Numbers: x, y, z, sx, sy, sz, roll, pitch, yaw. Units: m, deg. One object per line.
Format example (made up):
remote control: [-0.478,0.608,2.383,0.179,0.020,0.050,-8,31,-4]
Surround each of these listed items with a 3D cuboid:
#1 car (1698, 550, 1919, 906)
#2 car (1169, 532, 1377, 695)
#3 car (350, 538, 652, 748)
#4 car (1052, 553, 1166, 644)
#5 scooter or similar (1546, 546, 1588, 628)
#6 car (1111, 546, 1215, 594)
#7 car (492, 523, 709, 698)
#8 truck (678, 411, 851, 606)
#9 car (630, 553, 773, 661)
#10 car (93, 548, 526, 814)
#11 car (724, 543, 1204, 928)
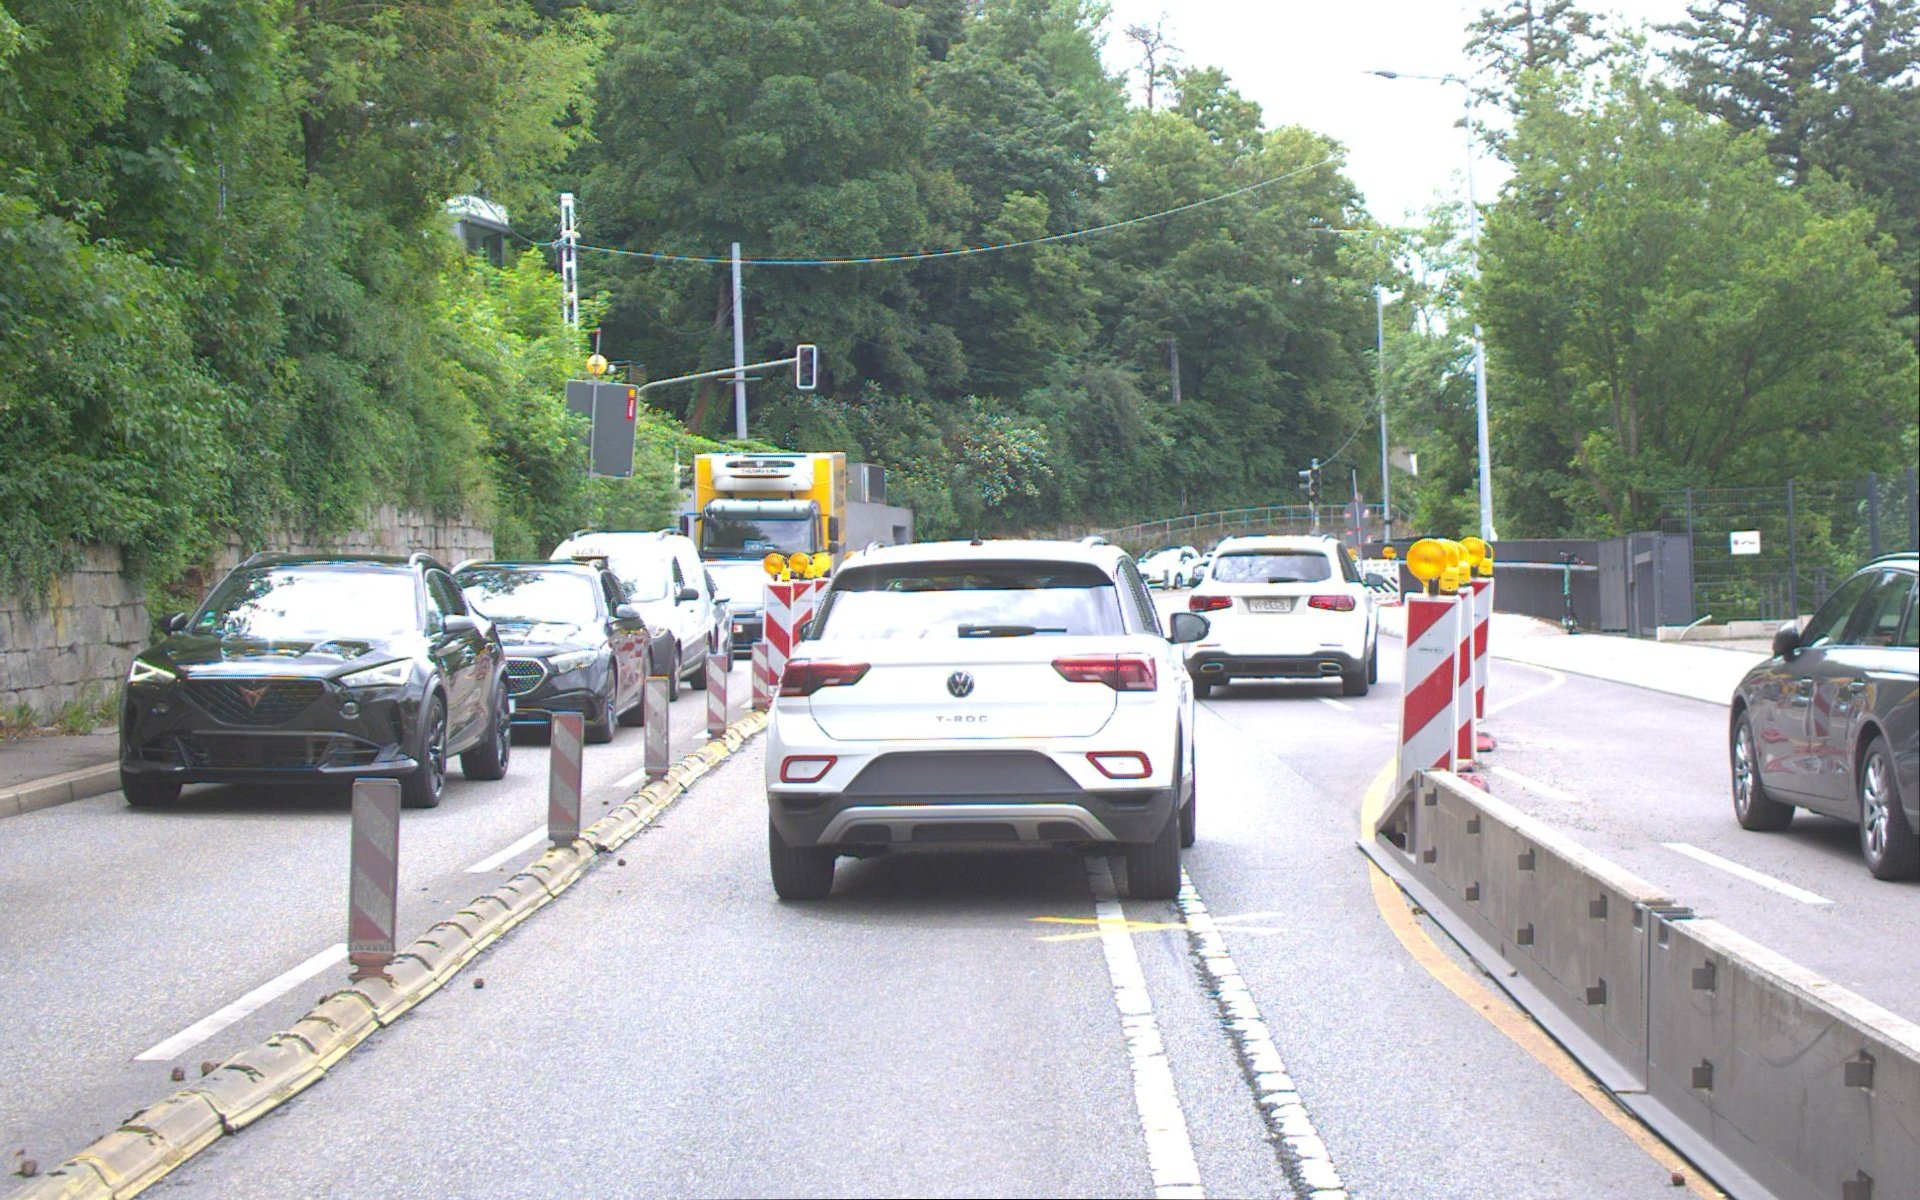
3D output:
car: [4.900,0.491,16.372,1.840,1.450,4.628,0,1,1]
car: [3.321,0.116,35.838,1.994,1.581,3.999,1,1,7]
car: [-3.720,0.303,28.635,1.831,1.587,4.654,1,1,1]
car: [2.684,-0.046,62.631,1.906,1.568,4.000,1,1,0]
scooter or similar: [9.465,-0.213,53.610,0.534,1.222,1.206,-2,2,7]
car: [6.818,-0.992,115.192,1.910,1.568,3.993,1,1,30]
car: [-3.869,0.084,37.685,1.803,1.784,4.342,1,1,1]
truck: [-3.654,-1.687,65.957,2.731,3.498,7.350,-1,0,1]
car: [-3.780,0.076,50.772,1.791,1.502,4.312,1,1,0]
car: [-3.963,0.438,21.651,1.829,1.480,4.318,1,1,1]
car: [0.144,0.518,15.839,1.867,1.531,3.803,1,1,5]
